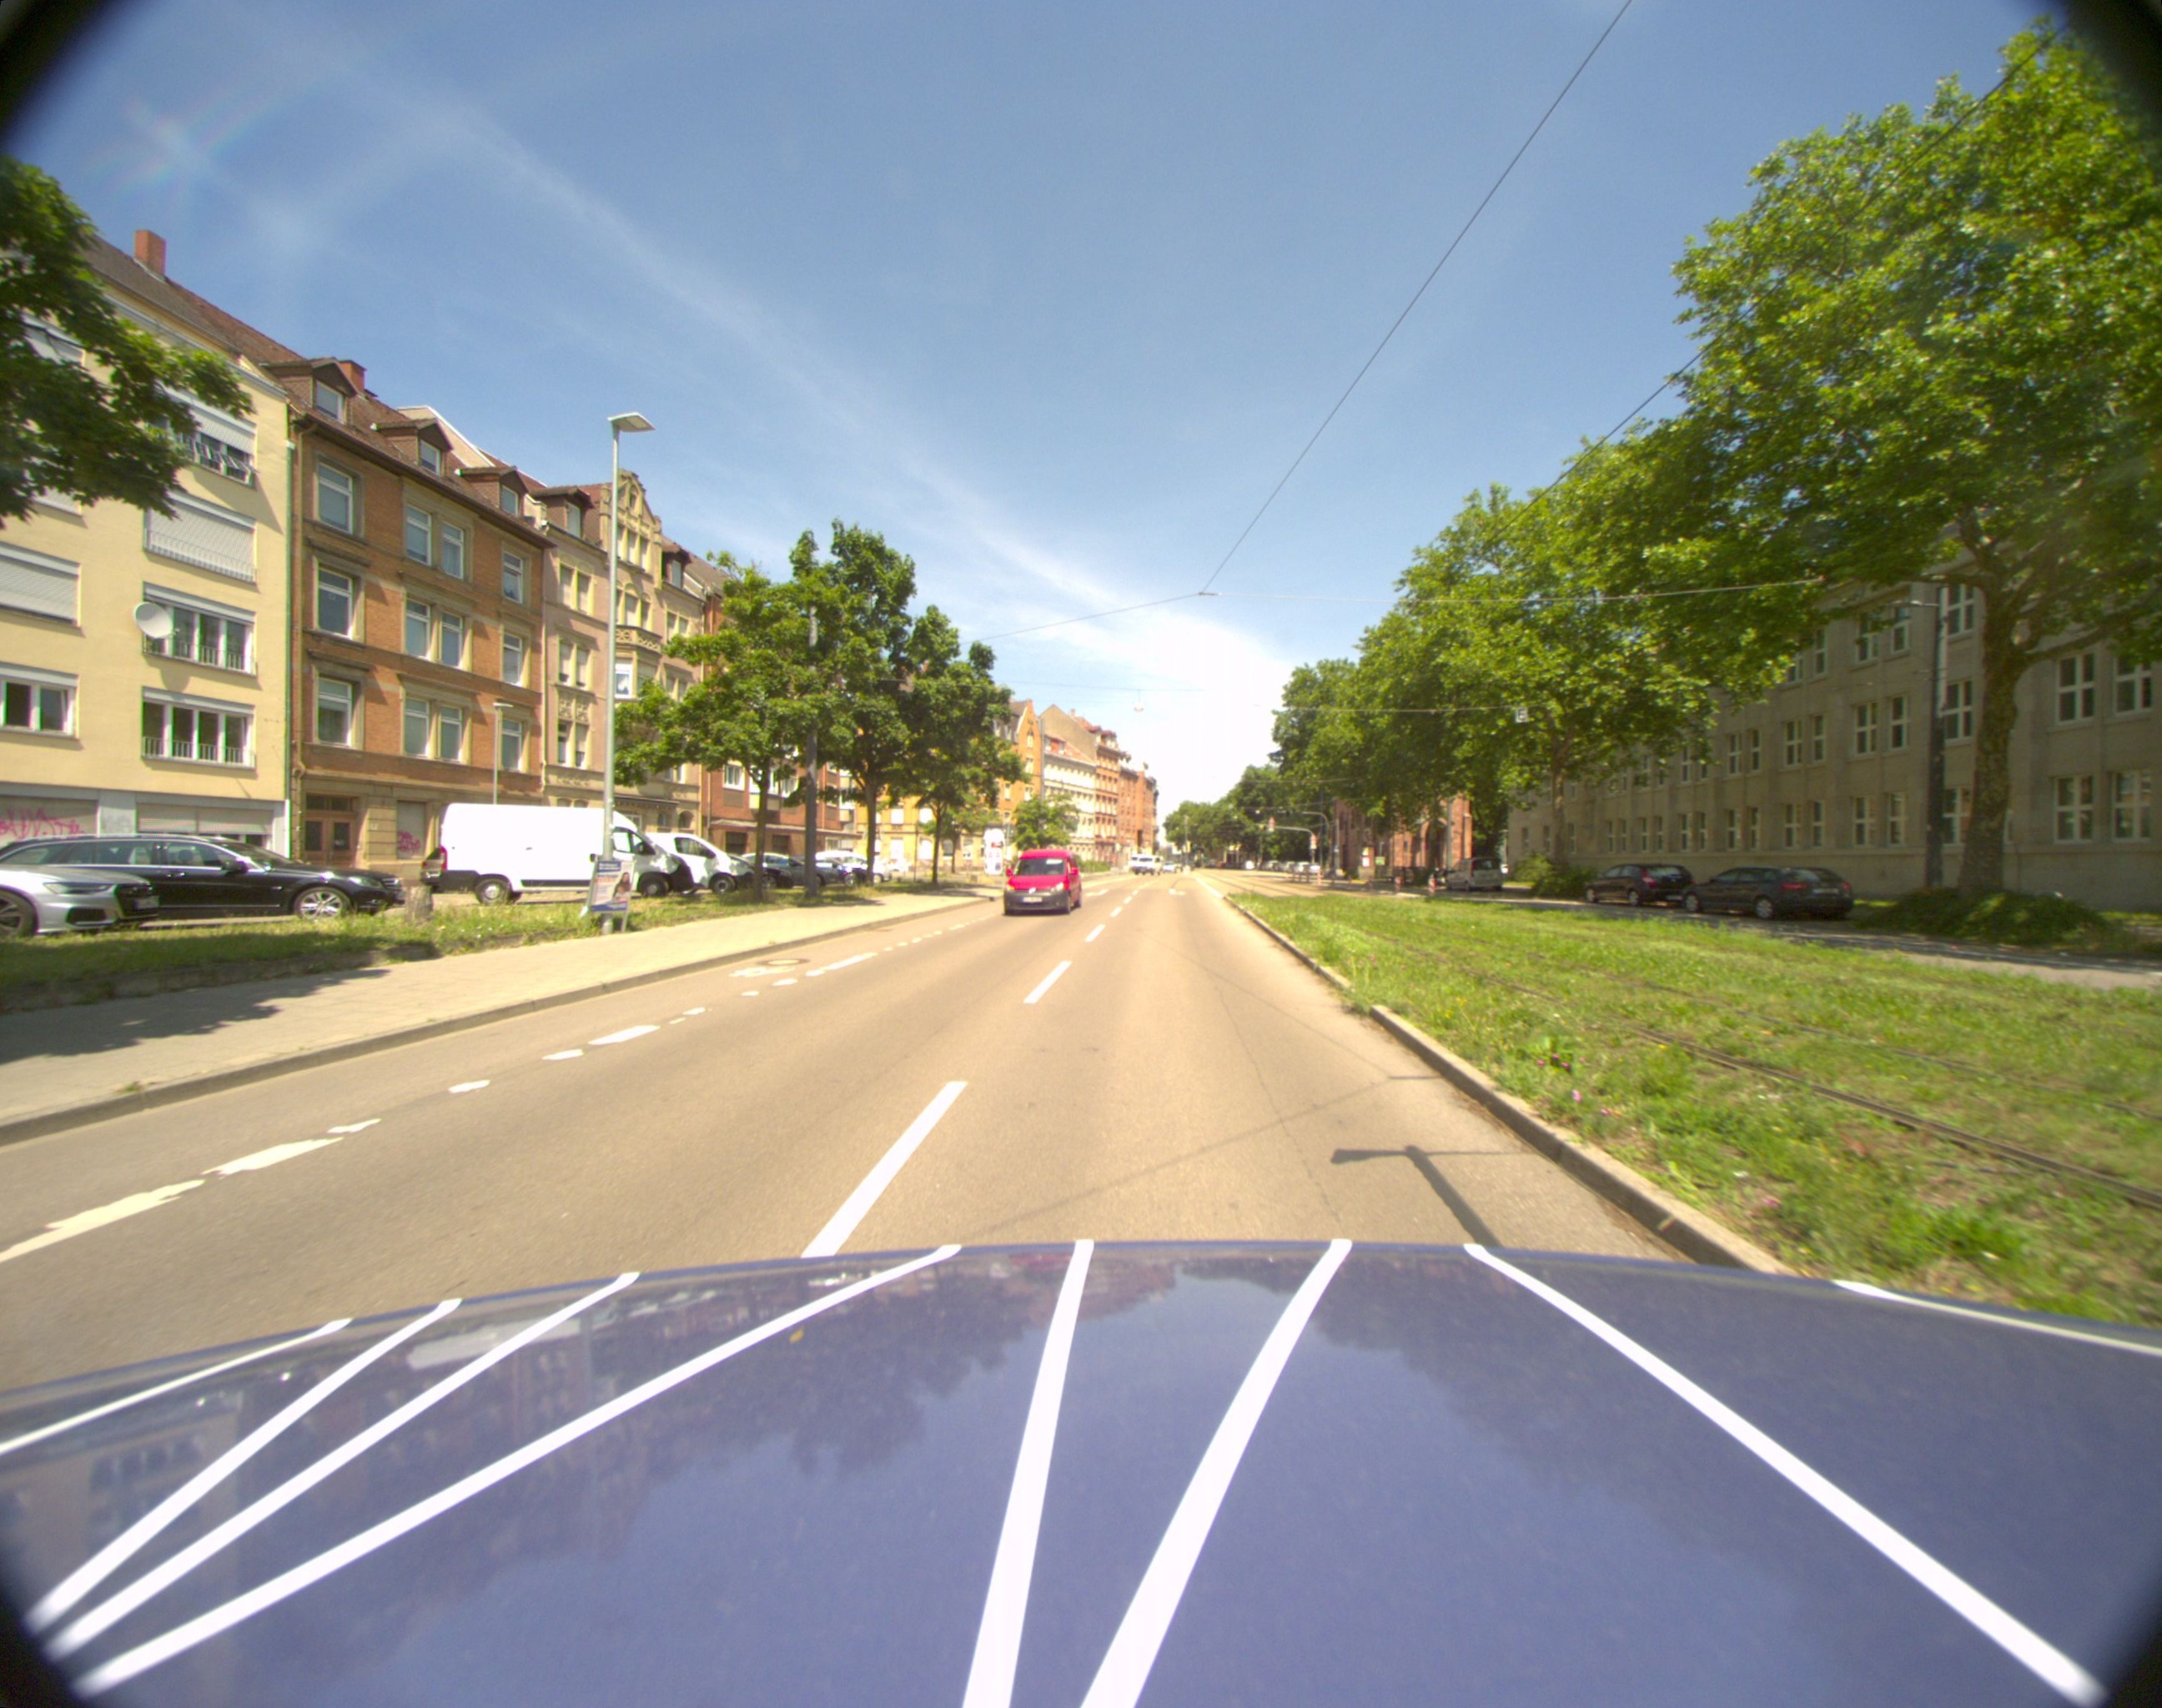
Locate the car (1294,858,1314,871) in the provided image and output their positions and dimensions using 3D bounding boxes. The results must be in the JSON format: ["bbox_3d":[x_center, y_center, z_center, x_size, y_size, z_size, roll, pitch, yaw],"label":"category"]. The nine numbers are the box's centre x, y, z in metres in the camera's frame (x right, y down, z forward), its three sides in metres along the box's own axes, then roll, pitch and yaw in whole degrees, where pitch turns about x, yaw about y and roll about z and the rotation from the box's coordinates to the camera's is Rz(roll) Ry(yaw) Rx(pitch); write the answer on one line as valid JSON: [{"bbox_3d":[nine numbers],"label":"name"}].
[{"bbox_3d":[27.331,1.277,93.246,1.661,1.450,4.061,0,0,7],"label":"car"}]

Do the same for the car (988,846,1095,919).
[{"bbox_3d":[-0.956,0.724,21.736,1.858,1.823,5.171,0,0,11],"label":"car"}]

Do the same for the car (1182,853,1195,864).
[{"bbox_3d":[16.093,0.698,113.516,1.799,1.564,4.003,0,0,8],"label":"car"}]

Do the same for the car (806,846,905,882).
[{"bbox_3d":[-10.707,0.464,36.289,4.415,1.622,1.997,0,0,-15],"label":"car"}]

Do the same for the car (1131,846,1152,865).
[{"bbox_3d":[8.330,0.215,103.964,1.996,2.317,5.412,3,1,12],"label":"car"}]

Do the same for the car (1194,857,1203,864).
[{"bbox_3d":[27.669,1.538,178.594,1.750,1.387,4.348,-1,0,4],"label":"car"}]

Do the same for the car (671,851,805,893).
[{"bbox_3d":[-11.891,0.604,26.642,4.002,1.378,1.821,0,0,-14],"label":"car"}]

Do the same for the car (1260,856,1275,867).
[{"bbox_3d":[31.008,1.203,126.568,1.997,1.707,4.002,0,0,7],"label":"car"}]

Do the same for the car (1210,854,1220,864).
[{"bbox_3d":[31.440,1.082,178.637,1.820,2.283,3.763,0,0,4],"label":"car"}]

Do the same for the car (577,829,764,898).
[{"bbox_3d":[-12.421,0.271,23.429,4.853,1.961,2.073,0,0,-22],"label":"car"}]

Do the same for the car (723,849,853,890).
[{"bbox_3d":[-11.439,0.584,29.989,4.636,1.488,1.962,0,0,-17],"label":"car"}]

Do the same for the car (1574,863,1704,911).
[{"bbox_3d":[19.114,1.074,26.302,1.766,1.474,4.326,0,0,7],"label":"car"}]

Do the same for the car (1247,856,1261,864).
[{"bbox_3d":[32.426,1.154,142.214,1.976,1.553,4.001,0,0,4],"label":"car"}]

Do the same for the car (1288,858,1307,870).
[{"bbox_3d":[27.881,1.269,98.055,1.661,1.450,4.060,0,0,6],"label":"car"}]

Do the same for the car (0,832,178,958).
[{"bbox_3d":[-14.127,0.475,8.546,4.700,1.419,1.968,0,0,-30],"label":"car"}]

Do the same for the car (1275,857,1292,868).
[{"bbox_3d":[28.934,1.202,108.812,1.746,1.514,3.755,0,0,6],"label":"car"}]

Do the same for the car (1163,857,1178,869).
[{"bbox_3d":[11.634,1.143,98.603,1.799,1.564,4.003,0,0,8],"label":"car"}]

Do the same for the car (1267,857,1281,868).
[{"bbox_3d":[30.289,1.314,119.403,1.746,1.643,3.908,0,0,8],"label":"car"}]

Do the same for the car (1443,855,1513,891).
[{"bbox_3d":[21.084,0.980,40.566,1.997,1.800,4.304,0,0,9],"label":"car"}]

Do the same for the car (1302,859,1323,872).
[{"bbox_3d":[26.840,1.350,88.227,1.661,1.450,4.223,0,0,7],"label":"car"}]

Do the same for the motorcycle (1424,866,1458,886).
[{"bbox_3d":[21.513,1.300,45.402,1.874,1.062,0.726,-2,1,-24],"label":"motorcycle"}]

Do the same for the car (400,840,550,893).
[{"bbox_3d":[-20.990,0.415,26.552,1.823,1.674,4.002,0,0,5],"label":"car"}]

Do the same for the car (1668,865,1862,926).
[{"bbox_3d":[18.408,1.050,20.762,1.591,1.415,4.324,0,0,3],"label":"car"}]

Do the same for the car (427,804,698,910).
[{"bbox_3d":[-13.216,0.069,19.893,5.560,2.446,2.233,0,0,-30],"label":"car"}]

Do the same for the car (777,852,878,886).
[{"bbox_3d":[-10.904,0.620,32.990,4.002,1.391,1.821,0,0,-14],"label":"car"}]

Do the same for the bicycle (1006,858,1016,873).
[{"bbox_3d":[-5.284,0.861,57.685,0.487,1.146,1.709,0,0,4],"label":"bicycle"}]

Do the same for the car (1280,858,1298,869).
[{"bbox_3d":[28.389,1.234,103.580,1.746,1.450,3.755,0,0,6],"label":"car"}]

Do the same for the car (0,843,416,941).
[{"bbox_3d":[-13.668,0.513,12.012,4.439,1.330,1.967,0,0,-30],"label":"car"}]

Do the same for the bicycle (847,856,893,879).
[{"bbox_3d":[-11.026,0.703,39.780,0.739,1.186,2.365,0,0,38],"label":"bicycle"}]

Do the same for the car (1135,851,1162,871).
[{"bbox_3d":[6.887,0.701,77.181,2.163,1.926,4.859,0,0,12],"label":"car"}]
